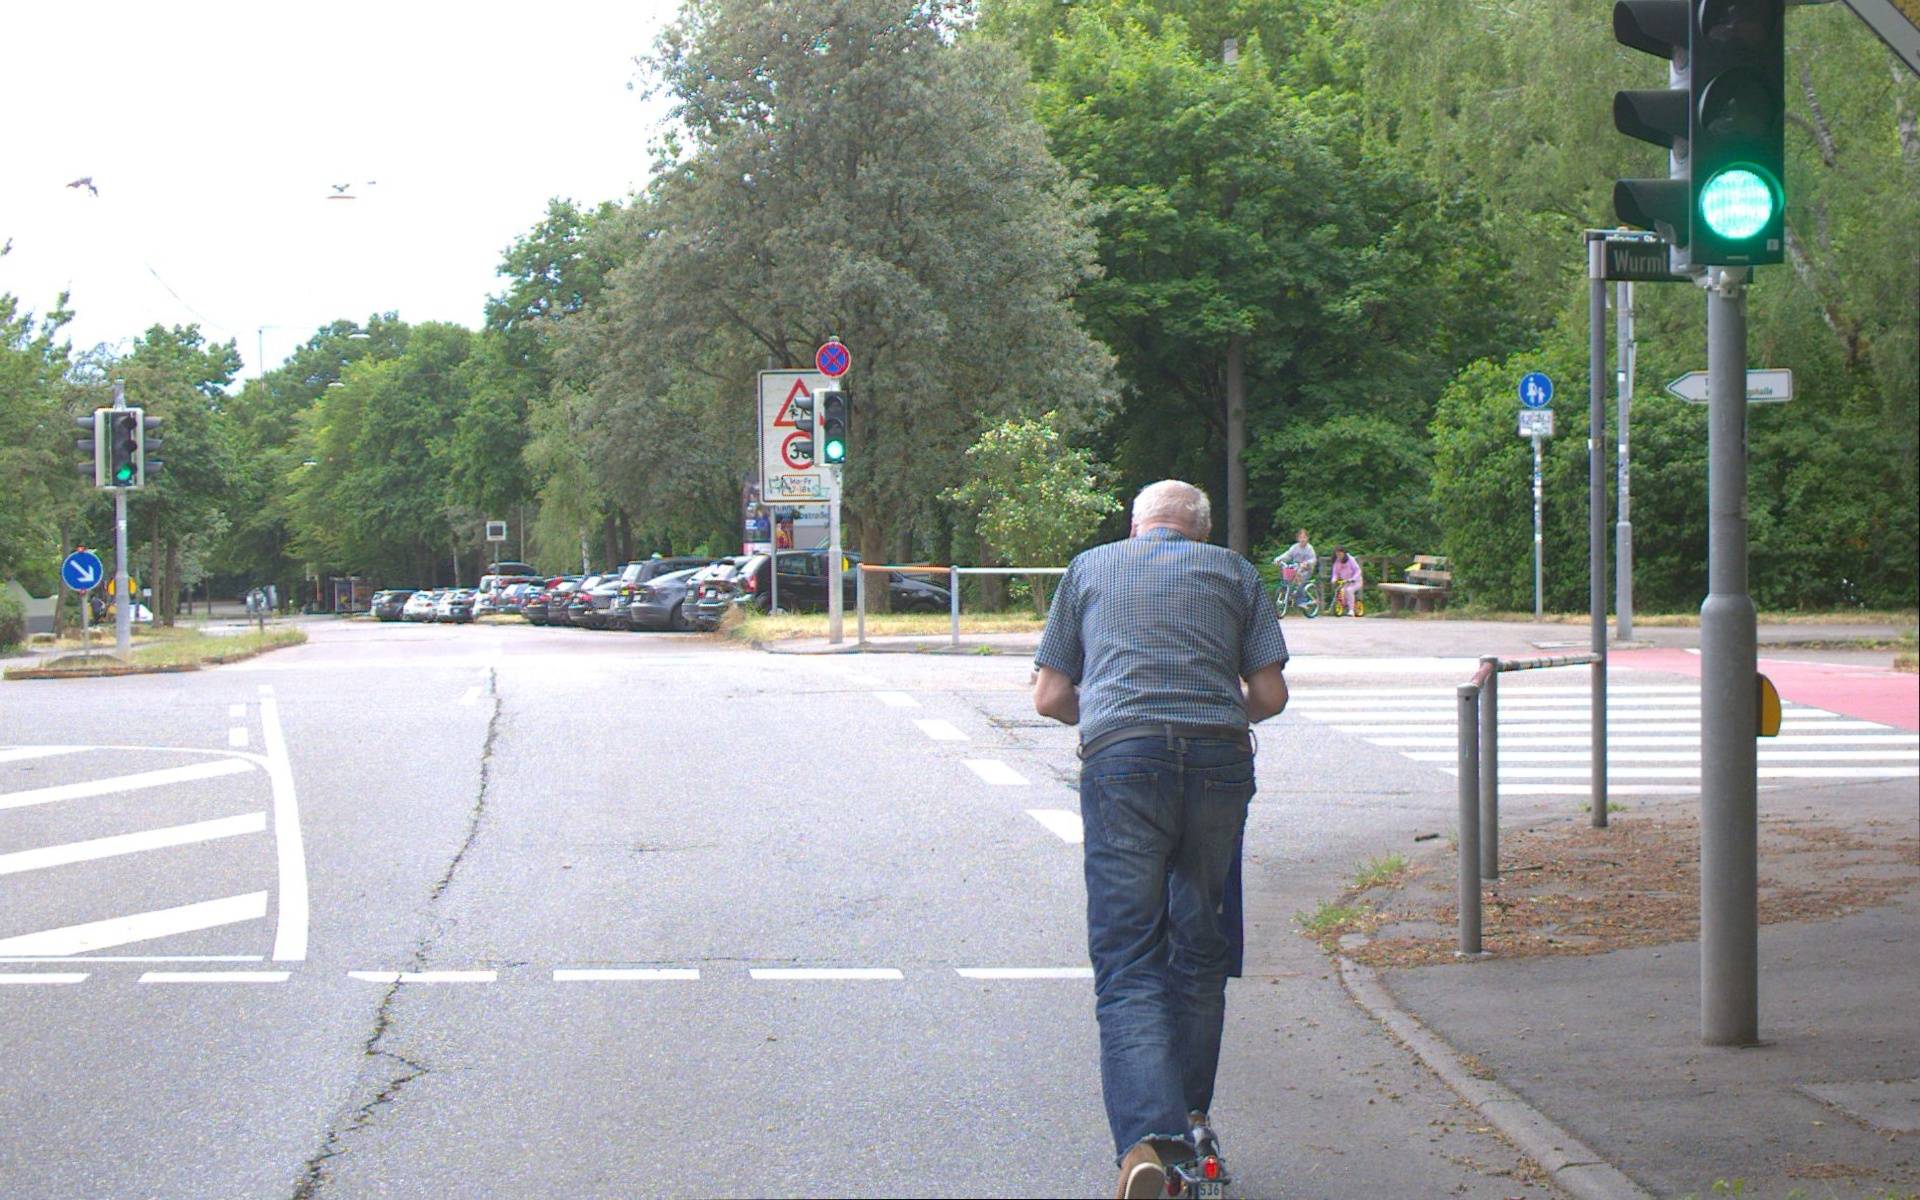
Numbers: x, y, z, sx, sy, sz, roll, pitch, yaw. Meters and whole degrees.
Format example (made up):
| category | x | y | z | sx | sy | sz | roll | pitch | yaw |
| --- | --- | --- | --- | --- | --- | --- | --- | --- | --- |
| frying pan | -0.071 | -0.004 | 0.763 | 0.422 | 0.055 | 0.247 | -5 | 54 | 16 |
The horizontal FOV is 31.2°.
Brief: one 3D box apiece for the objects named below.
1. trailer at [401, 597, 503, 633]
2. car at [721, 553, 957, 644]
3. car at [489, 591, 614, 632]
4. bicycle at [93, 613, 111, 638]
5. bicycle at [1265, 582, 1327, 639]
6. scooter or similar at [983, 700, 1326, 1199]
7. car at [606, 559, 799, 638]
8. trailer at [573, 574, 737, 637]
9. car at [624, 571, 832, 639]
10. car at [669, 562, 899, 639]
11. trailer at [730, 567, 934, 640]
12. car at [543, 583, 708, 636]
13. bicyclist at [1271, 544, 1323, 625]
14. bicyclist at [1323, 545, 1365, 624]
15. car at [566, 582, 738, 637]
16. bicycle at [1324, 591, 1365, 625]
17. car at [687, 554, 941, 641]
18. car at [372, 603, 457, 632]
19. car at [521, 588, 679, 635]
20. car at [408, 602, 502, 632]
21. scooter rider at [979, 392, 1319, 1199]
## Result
| category | x | y | z | sx | sy | sz | roll | pitch | yaw |
| --- | --- | --- | --- | --- | --- | --- | --- | --- | --- |
| trailer | -22.779 | 0.664 | 154.201 | 4.154 | 1.568 | 1.712 | 0 | -1 | -30 |
| car | -2.045 | -0.041 | 57.640 | 3.714 | 1.471 | 1.577 | -1 | 0 | -13 |
| car | -14.261 | 0.413 | 120.049 | 3.964 | 1.401 | 1.757 | 0 | -1 | -26 |
| bicycle | -44.837 | 1.334 | 179.673 | 0.844 | 1.262 | 2.652 | -1 | 0 | -12 |
| bicycle | 5.047 | 0.146 | 51.507 | 0.640 | 0.756 | 1.680 | 0 | 3 | 15 |
| scooter or similar | 0.429 | 0.837 | 7.644 | 0.681 | 1.135 | 1.460 | 0 | 2 | 3 |
| car | -5.790 | -0.031 | 77.187 | 3.985 | 1.719 | 1.681 | -1 | -1 | -20 |
| trailer | -7.512 | 0.127 | 84.592 | 3.687 | 1.530 | 1.646 | 0 | 0 | -22 |
| car | -5.012 | 0.106 | 74.246 | 4.158 | 1.402 | 1.698 | -1 | -1 | -22 |
| car | -3.476 | 0.001 | 67.903 | 4.218 | 1.459 | 1.635 | -1 | 0 | -19 |
| trailer | -2.358 | 0.060 | 63.131 | 3.401 | 1.262 | 1.617 | -1 | -1 | -20 |
| car | -9.432 | 0.253 | 97.032 | 4.343 | 1.440 | 1.634 | 0 | 0 | -25 |
| bicyclist | 5.045 | -0.237 | 51.478 | 0.640 | 1.158 | 0.803 | 0 | 3 | 16 |
| bicyclist | 5.929 | -0.236 | 53.069 | 0.518 | 1.183 | 0.967 | -2 | -1 | 12 |
| car | -7.778 | 0.233 | 86.848 | 4.036 | 1.323 | 1.559 | -1 | -1 | -20 |
| bicycle | 5.936 | 0.125 | 53.052 | 0.518 | 0.496 | 0.988 | -2 | -1 | 12 |
| car | -2.552 | -0.042 | 60.143 | 4.134 | 1.471 | 1.577 | 0 | 0 | -21 |
| car | -27.716 | 0.877 | 174.688 | 3.884 | 1.424 | 1.743 | -1 | -1 | -31 |
| car | -10.704 | 0.344 | 102.246 | 4.311 | 1.336 | 1.734 | 0 | -1 | -25 |
| car | -23.048 | 0.793 | 156.886 | 3.885 | 1.305 | 1.743 | -1 | -1 | -35 |
| scooter rider | 0.416 | 0.423 | 7.604 | 0.681 | 1.724 | 1.196 | 0 | 2 | 3 |
